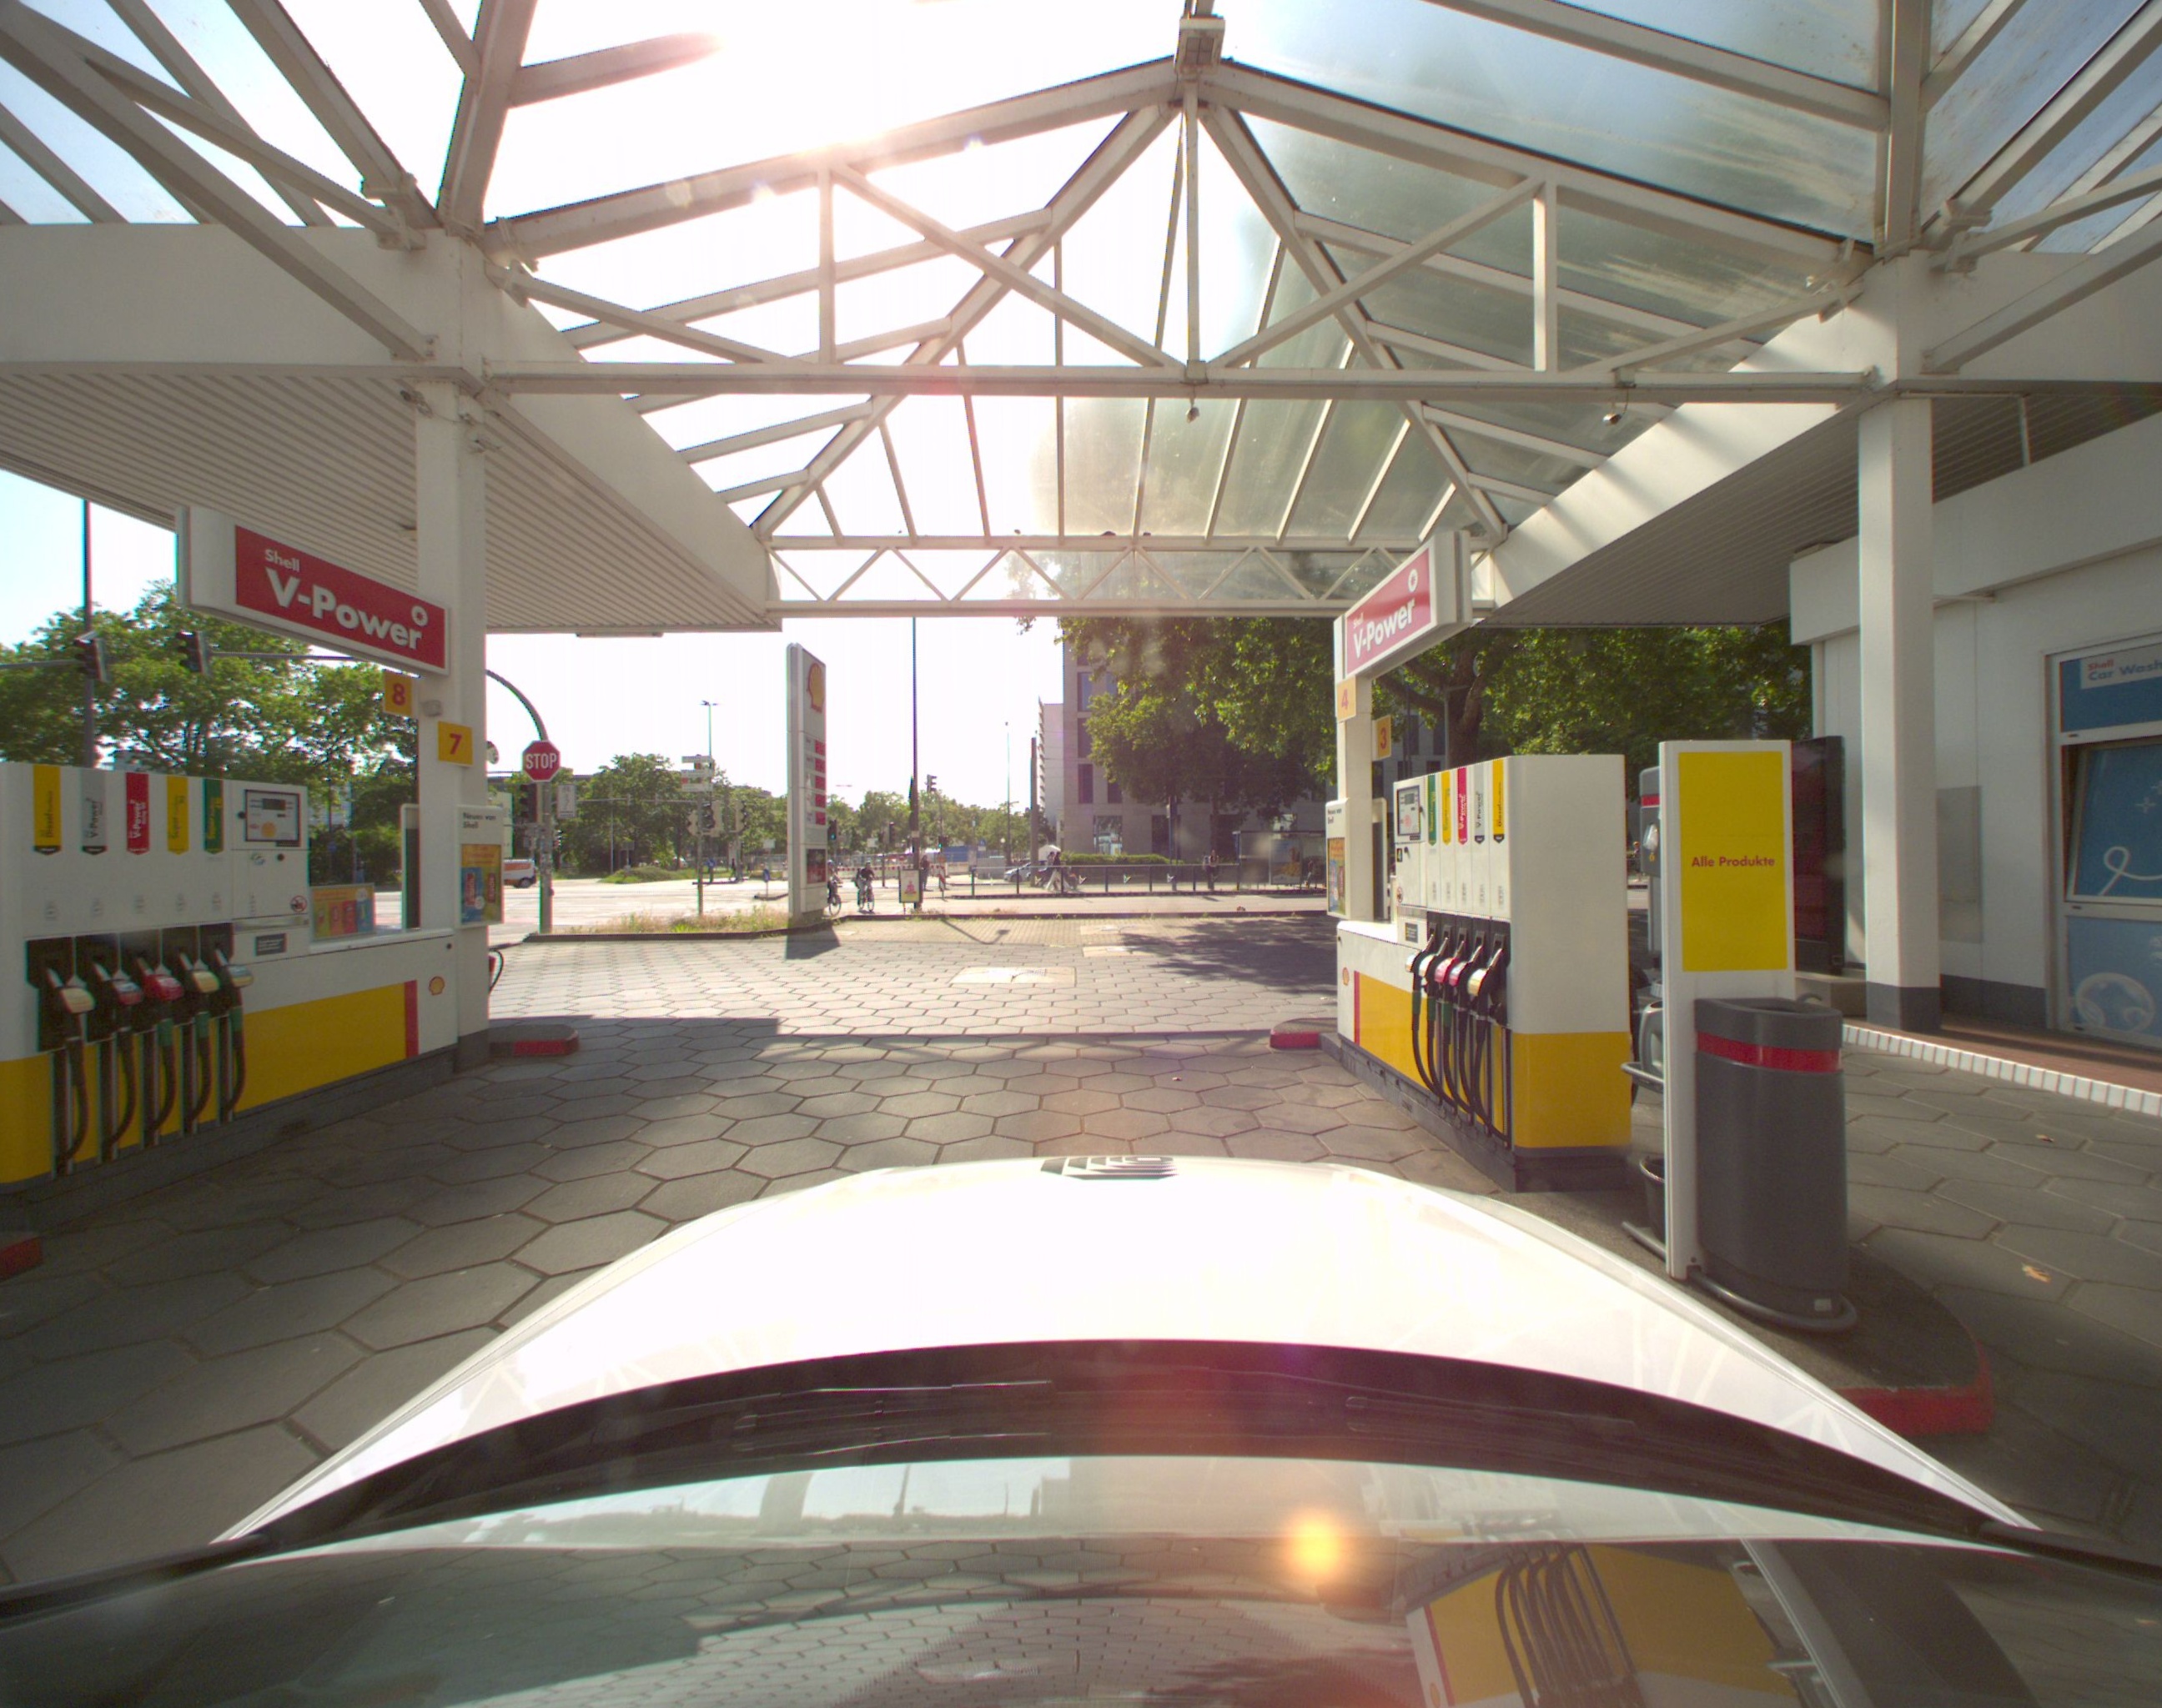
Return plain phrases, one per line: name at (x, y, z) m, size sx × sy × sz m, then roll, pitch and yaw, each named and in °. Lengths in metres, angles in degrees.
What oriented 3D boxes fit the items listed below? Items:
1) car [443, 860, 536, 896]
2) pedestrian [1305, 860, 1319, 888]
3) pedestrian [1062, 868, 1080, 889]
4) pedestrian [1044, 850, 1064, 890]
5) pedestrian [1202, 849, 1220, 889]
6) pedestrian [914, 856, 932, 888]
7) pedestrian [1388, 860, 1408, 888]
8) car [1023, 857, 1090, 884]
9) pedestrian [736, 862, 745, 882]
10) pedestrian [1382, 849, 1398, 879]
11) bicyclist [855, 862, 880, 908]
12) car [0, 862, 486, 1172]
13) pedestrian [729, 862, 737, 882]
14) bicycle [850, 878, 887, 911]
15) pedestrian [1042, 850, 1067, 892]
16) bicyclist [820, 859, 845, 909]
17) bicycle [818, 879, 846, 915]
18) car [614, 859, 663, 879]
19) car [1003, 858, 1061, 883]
car at (-37.620, 1.503, 51.855) m, size 1.975 × 2.013 × 4.474 m, roll -3°, pitch -1°, yaw 44°
pedestrian at (9.535, 0.810, 33.626) m, size 0.496 × 1.138 × 0.525 m, roll -1°, pitch 0°, yaw 5°
pedestrian at (-0.424, 1.049, 34.586) m, size 0.687 × 0.880 × 0.504 m, roll -1°, pitch 0°, yaw 7°
pedestrian at (-1.158, 0.661, 34.683) m, size 0.772 × 1.683 × 0.504 m, roll -1°, pitch 0°, yaw 8°
pedestrian at (5.329, 0.603, 33.362) m, size 0.582 × 1.591 × 0.670 m, roll -1°, pitch 1°, yaw -2°
pedestrian at (-7.489, 0.850, 38.598) m, size 0.647 × 1.540 × 0.504 m, roll -1°, pitch 0°, yaw 8°
pedestrian at (13.147, 0.832, 33.799) m, size 0.625 × 1.138 × 0.525 m, roll -1°, pitch 0°, yaw 5°
car at (-1.533, 0.974, 49.750) m, size 3.983 × 1.552 × 1.699 m, roll -1°, pitch 0°, yaw -7°
pedestrian at (-25.069, 1.340, 60.002) m, size 0.566 × 1.469 × 0.509 m, roll -1°, pitch 0°, yaw -26°
pedestrian at (12.824, 0.415, 33.783) m, size 0.497 × 1.220 × 0.406 m, roll -1°, pitch 0°, yaw 1°
bicyclist at (-7.300, 1.043, 27.862) m, size 0.537 × 1.544 × 0.855 m, roll 0°, pitch -1°, yaw -38°
car at (-6.252, 0.847, 5.372) m, size 1.739 × 1.532 × 3.998 m, roll -2°, pitch -1°, yaw -1°
pedestrian at (-25.995, 1.345, 60.838) m, size 0.566 × 1.469 × 0.509 m, roll -1°, pitch 0°, yaw -26°
bicycle at (-7.267, 1.365, 27.833) m, size 0.527 × 1.082 × 1.846 m, roll 0°, pitch 0°, yaw -38°
pedestrian at (-1.072, 0.692, 33.557) m, size 0.927 × 1.683 × 0.504 m, roll -1°, pitch 0°, yaw 8°
bicyclist at (-8.012, 0.950, 26.291) m, size 0.638 × 1.580 × 1.169 m, roll -1°, pitch 0°, yaw -10°
bicycle at (-8.022, 1.364, 26.297) m, size 0.638 × 1.082 × 2.019 m, roll -1°, pitch -1°, yaw -10°
car at (-46.614, 1.564, 85.905) m, size 3.970 × 1.816 × 2.002 m, roll -3°, pitch -1°, yaw 3°
car at (-3.168, 1.051, 52.829) m, size 3.678 × 1.552 × 1.588 m, roll -1°, pitch 0°, yaw -7°
